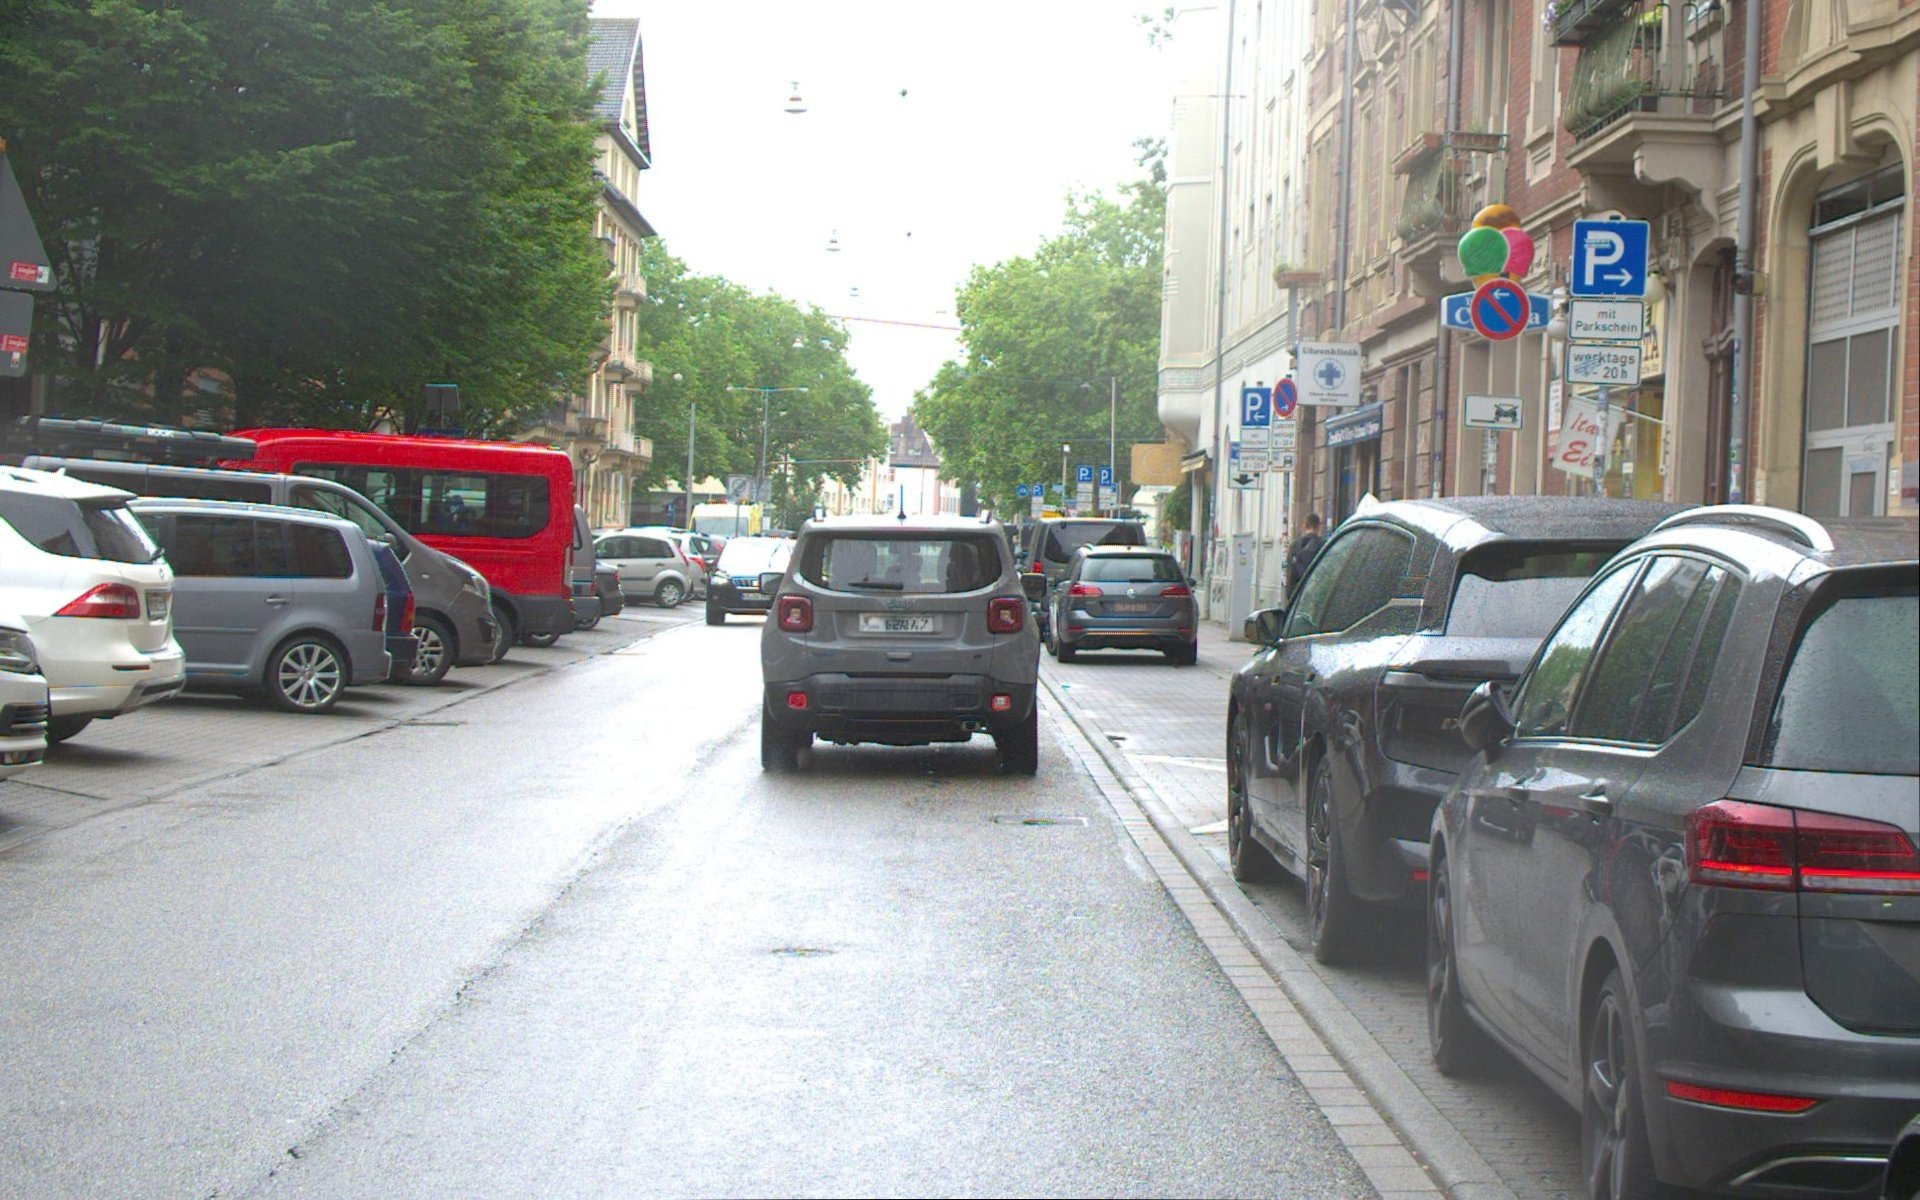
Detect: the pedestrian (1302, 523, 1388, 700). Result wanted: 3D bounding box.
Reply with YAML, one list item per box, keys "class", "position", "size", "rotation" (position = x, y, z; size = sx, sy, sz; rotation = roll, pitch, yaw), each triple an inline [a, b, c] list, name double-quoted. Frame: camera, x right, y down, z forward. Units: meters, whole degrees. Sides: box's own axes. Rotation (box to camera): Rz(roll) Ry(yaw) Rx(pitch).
- class: "pedestrian"
  position: [3.562, 0.095, 31.838]
  size: [0.679, 1.608, 0.810]
  rotation: [1, 1, 0]

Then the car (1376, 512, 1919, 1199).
- class: "car"
  position: [2.221, 0.590, 8.431]
  size: [1.871, 1.556, 4.345]
  rotation: [1, 1, 0]

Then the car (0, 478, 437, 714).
- class: "car"
  position: [-6.686, -0.081, 27.679]
  size: [4.430, 1.625, 1.845]
  rotation: [4, 1, -26]

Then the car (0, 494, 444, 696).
- class: "car"
  position: [-6.910, -0.066, 30.131]
  size: [4.341, 1.499, 1.755]
  rotation: [3, 1, -23]

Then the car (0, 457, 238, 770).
- class: "car"
  position: [-7.104, -0.088, 21.451]
  size: [4.578, 1.779, 2.546]
  rotation: [4, 1, -1]

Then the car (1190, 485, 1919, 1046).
- class: "car"
  position: [2.149, 0.501, 13.558]
  size: [1.993, 1.773, 4.827]
  rotation: [1, 1, -1]

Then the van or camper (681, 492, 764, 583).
- class: "van or camper"
  position: [-7.268, -1.884, 105.787]
  size: [2.121, 2.522, 6.875]
  rotation: [-2, -1, -1]

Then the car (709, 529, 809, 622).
- class: "car"
  position: [-3.549, -0.451, 60.999]
  size: [1.669, 1.554, 4.004]
  rotation: [2, 1, -3]

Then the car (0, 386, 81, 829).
- class: "car"
  position: [-6.954, -0.069, 15.969]
  size: [5.235, 2.071, 1.871]
  rotation: [2, 0, -25]

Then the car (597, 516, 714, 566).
- class: "car"
  position: [-10.750, -2.089, 121.539]
  size: [3.653, 1.553, 1.799]
  rotation: [3, 0, -36]

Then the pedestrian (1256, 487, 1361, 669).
- class: "pedestrian"
  position: [3.925, -0.245, 38.678]
  size: [0.680, 1.928, 0.808]
  rotation: [1, -10, 35]

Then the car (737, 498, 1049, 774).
- class: "car"
  position: [-0.474, 0.187, 23.581]
  size: [1.898, 1.665, 4.506]
  rotation: [1, 1, -1]

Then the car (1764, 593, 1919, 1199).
- class: "car"
  position: [2.165, 0.730, 3.204]
  size: [1.787, 1.461, 4.483]
  rotation: [2, -1, 0]

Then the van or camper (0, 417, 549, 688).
- class: "van or camper"
  position: [-6.776, -0.447, 33.098]
  size: [5.008, 2.341, 2.345]
  rotation: [2, 1, -26]

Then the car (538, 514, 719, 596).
- class: "car"
  position: [-6.931, -0.940, 72.009]
  size: [3.375, 1.648, 1.634]
  rotation: [0, 1, -33]

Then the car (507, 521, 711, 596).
- class: "car"
  position: [-7.051, -0.836, 69.130]
  size: [3.702, 1.447, 1.685]
  rotation: [0, 1, -35]

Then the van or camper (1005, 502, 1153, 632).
- class: "van or camper"
  position: [1.781, -0.532, 53.093]
  size: [2.021, 1.884, 5.055]
  rotation: [1, 1, -1]

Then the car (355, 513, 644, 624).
- class: "car"
  position: [-6.986, -0.470, 52.330]
  size: [3.967, 1.442, 1.767]
  rotation: [3, 1, -40]

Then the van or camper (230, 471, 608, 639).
- class: "van or camper"
  position: [-7.009, -0.574, 44.676]
  size: [4.434, 1.968, 1.781]
  rotation: [2, 1, -33]

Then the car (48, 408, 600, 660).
- class: "car"
  position: [-7.074, -0.720, 38.372]
  size: [5.554, 2.532, 2.230]
  rotation: [2, 1, -28]

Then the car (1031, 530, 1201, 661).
- class: "car"
  position: [1.930, -0.087, 43.659]
  size: [1.841, 1.540, 4.004]
  rotation: [1, 1, -1]
